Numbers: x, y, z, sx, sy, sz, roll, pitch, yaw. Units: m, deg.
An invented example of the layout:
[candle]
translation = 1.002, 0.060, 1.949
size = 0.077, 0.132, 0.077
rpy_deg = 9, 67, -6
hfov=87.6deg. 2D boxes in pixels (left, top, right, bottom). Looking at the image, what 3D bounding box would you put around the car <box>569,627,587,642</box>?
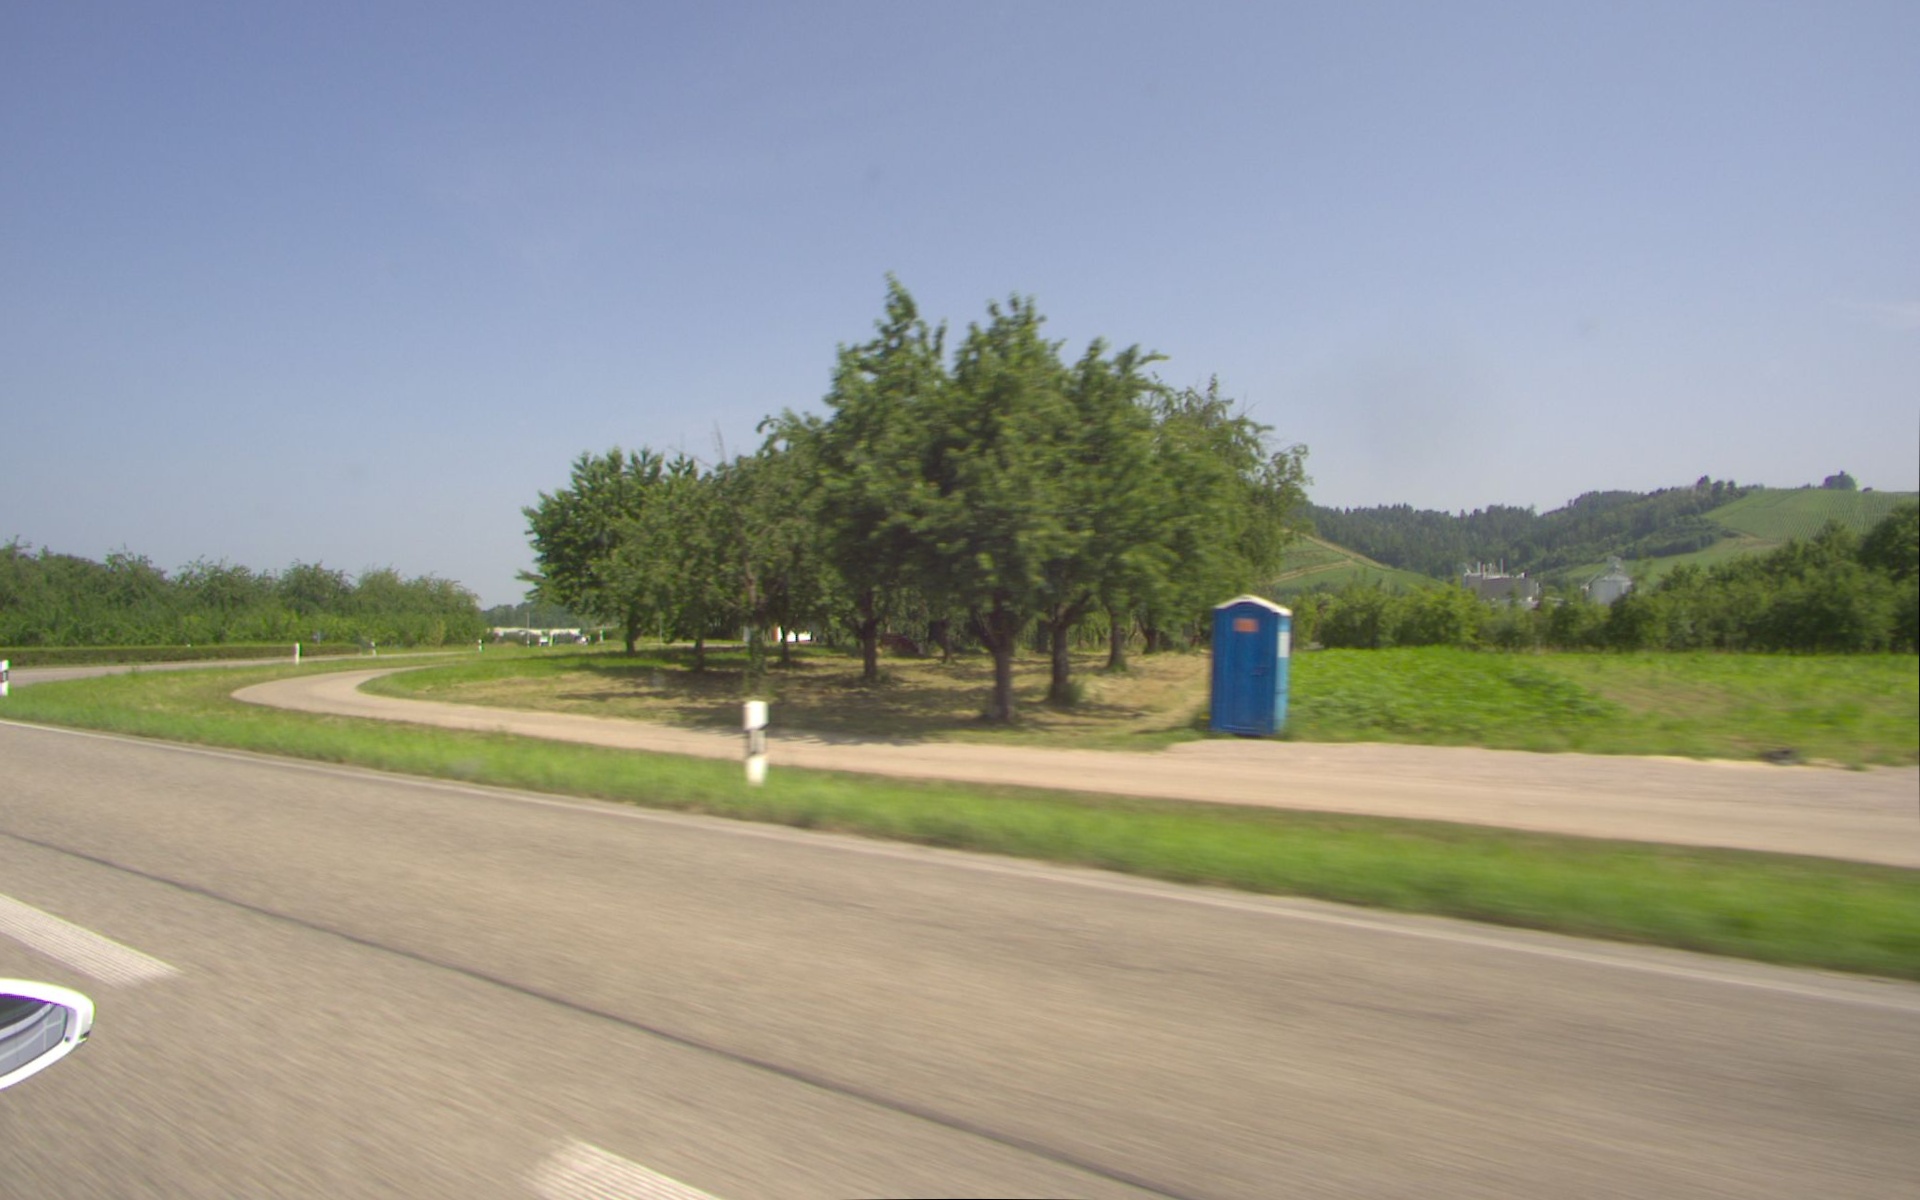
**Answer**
[car]
translation = -45.963, 4.163, 120.455
size = 1.763, 1.705, 3.985
rpy_deg = 0, -1, -26
